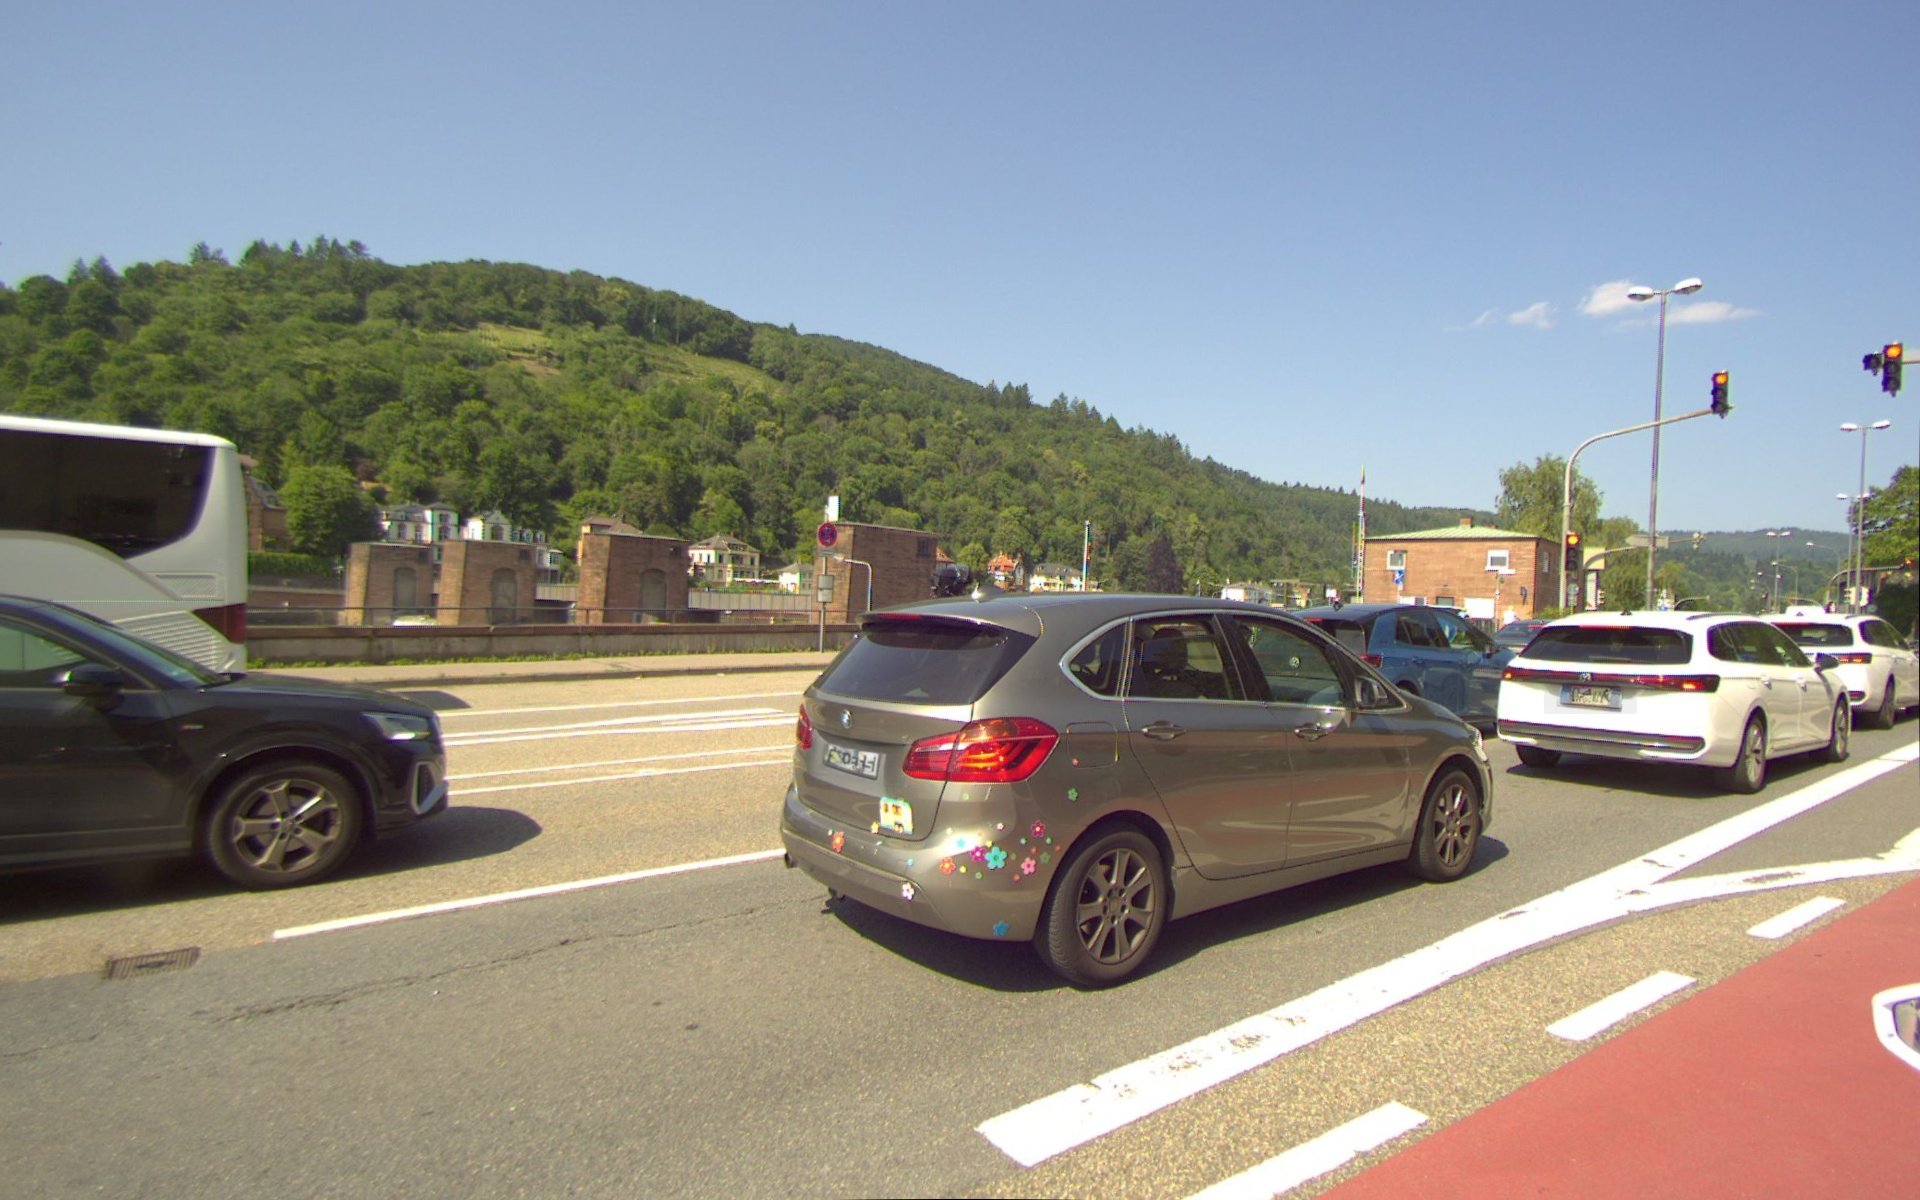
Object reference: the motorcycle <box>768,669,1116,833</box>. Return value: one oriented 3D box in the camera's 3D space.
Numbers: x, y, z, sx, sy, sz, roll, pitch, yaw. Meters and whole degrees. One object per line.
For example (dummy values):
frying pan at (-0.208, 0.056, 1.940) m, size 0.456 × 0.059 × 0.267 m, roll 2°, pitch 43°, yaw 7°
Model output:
motorcycle at (-0.080, 1.065, 7.750) m, size 2.580 × 0.932 × 1.031 m, roll 0°, pitch 0°, yaw -36°

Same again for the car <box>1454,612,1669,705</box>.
car at (10.257, 0.897, 17.047) m, size 3.964 × 1.377 × 1.852 m, roll 0°, pitch 0°, yaw -38°

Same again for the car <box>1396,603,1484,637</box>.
car at (29.522, 1.197, 61.873) m, size 4.524 × 2.040 × 2.001 m, roll 0°, pitch 0°, yaw 12°

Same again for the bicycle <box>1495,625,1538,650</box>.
bicycle at (26.250, 1.765, 47.362) m, size 1.200 × 1.105 × 2.582 m, roll -1°, pitch -1°, yaw 44°

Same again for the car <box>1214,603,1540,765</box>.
car at (4.976, 0.837, 11.791) m, size 3.964 × 1.583 × 1.852 m, roll 0°, pitch 0°, yaw -38°

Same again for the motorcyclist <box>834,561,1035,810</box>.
motorcyclist at (-0.203, 0.591, 7.660) m, size 1.145 × 1.707 × 1.068 m, roll 0°, pitch 0°, yaw -36°

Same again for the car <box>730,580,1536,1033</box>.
car at (1.133, 0.730, 5.440) m, size 4.264 × 1.541 × 1.875 m, roll 1°, pitch 0°, yaw -36°

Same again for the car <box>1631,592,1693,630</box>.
car at (41.009, 0.619, 58.627) m, size 2.192 × 2.106 × 5.011 m, roll 0°, pitch 0°, yaw 45°

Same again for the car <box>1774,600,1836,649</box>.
car at (47.382, 1.364, 56.466) m, size 2.353 × 2.610 × 6.031 m, roll 0°, pitch -1°, yaw 37°

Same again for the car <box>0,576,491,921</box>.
car at (-4.833, 0.648, 5.173) m, size 4.111 × 1.534 × 1.856 m, roll 1°, pitch 0°, yaw -36°

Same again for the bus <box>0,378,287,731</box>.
bus at (-14.397, -0.583, 9.484) m, size 13.137 × 3.852 × 2.931 m, roll 0°, pitch 3°, yaw -41°

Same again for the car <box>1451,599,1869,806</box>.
car at (6.969, 0.788, 9.801) m, size 4.813 × 1.554 × 1.979 m, roll 0°, pitch 0°, yaw -37°

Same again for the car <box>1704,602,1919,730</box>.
car at (12.427, 0.842, 14.363) m, size 4.696 × 1.552 × 1.771 m, roll 1°, pitch -1°, yaw -39°

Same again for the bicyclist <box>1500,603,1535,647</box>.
bicyclist at (26.281, 1.174, 47.349) m, size 1.200 × 2.040 × 1.112 m, roll 0°, pitch -1°, yaw 44°

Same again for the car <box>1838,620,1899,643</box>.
car at (82.640, 2.821, 91.413) m, size 1.905 × 2.040 × 3.999 m, roll 0°, pitch -1°, yaw -2°

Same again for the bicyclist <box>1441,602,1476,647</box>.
bicyclist at (23.374, 1.143, 47.076) m, size 1.200 × 2.040 × 1.111 m, roll 0°, pitch -1°, yaw 44°

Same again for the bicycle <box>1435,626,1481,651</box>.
bicycle at (23.322, 1.790, 47.025) m, size 1.200 × 1.105 × 2.582 m, roll 0°, pitch -1°, yaw 44°
